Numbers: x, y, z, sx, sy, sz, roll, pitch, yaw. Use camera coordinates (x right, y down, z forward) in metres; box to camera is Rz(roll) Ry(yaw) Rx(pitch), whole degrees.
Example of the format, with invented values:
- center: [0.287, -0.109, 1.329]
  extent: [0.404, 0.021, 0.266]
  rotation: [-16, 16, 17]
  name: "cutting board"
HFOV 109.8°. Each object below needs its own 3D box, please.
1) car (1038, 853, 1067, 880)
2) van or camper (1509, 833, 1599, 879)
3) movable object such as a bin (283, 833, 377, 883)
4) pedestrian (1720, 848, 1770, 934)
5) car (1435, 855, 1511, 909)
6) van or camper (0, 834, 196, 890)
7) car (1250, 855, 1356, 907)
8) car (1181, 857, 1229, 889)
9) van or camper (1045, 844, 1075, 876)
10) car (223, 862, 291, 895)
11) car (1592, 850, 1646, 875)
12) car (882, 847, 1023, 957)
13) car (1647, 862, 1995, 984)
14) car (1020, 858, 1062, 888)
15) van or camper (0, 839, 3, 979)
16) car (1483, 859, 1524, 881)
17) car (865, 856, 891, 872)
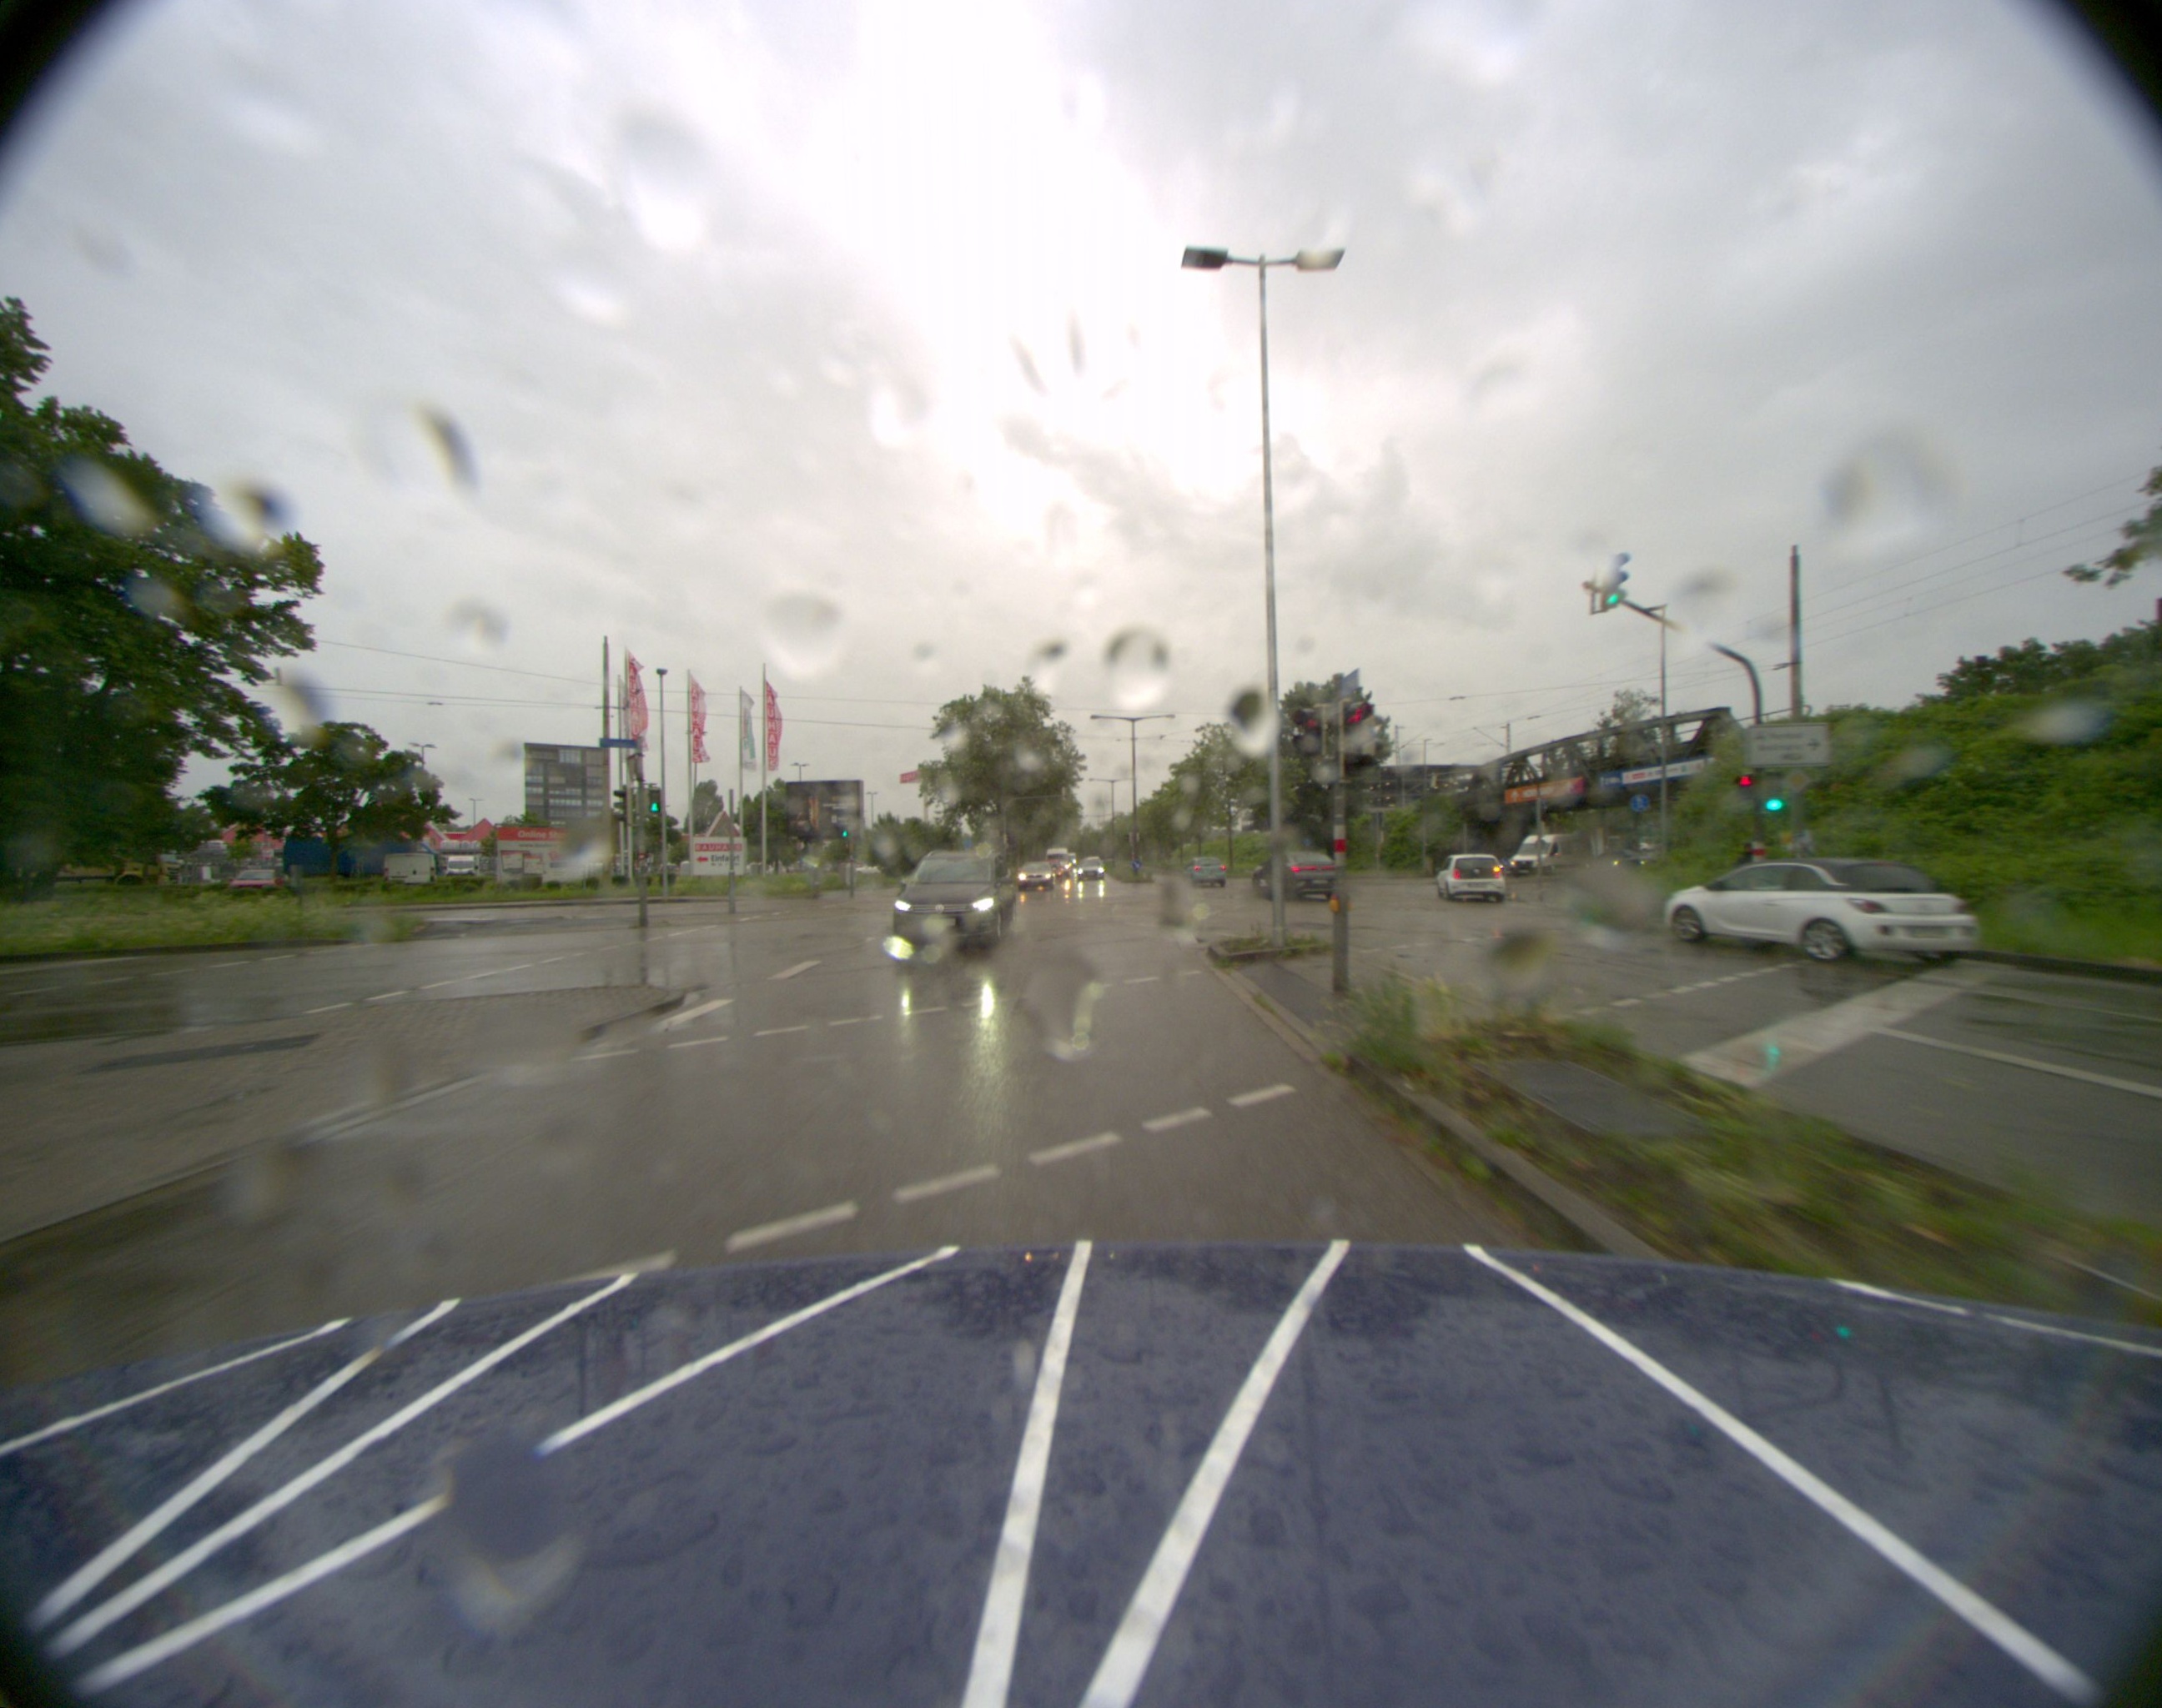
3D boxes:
- center: [-1.936, 0.867, 53.245]
  extent: [1.699, 1.759, 4.558]
  rotation: [-1, 0, 2]
  name: "car"
- center: [28.845, 0.071, 46.230]
  extent: [6.941, 2.647, 1.995]
  rotation: [-1, 1, -34]
  name: "van or camper"
- center: [-52.470, 0.243, 53.209]
  extent: [4.260, 3.266, 2.321]
  rotation: [-3, 2, -36]
  name: "movable object such as a bin"
- center: [14.099, 0.773, 16.135]
  extent: [0.485, 1.777, 0.626]
  rotation: [-1, 1, -7]
  name: "pedestrian"
- center: [12.689, 0.843, 24.770]
  extent: [1.650, 1.592, 3.571]
  rotation: [0, 0, 18]
  name: "car"
- center: [-62.406, 0.461, 47.252]
  extent: [8.994, 3.139, 2.979]
  rotation: [-3, 2, -34]
  name: "van or camper"
- center: [7.352, 0.850, 25.697]
  extent: [1.977, 1.592, 4.386]
  rotation: [0, 0, -5]
  name: "car"
- center: [6.404, 0.945, 39.684]
  extent: [1.697, 1.592, 3.622]
  rotation: [0, 0, -4]
  name: "car"
- center: [-1.732, 0.508, 64.574]
  extent: [2.100, 2.579, 4.776]
  rotation: [-2, 0, 2]
  name: "van or camper"
- center: [-42.154, 1.234, 38.852]
  extent: [3.988, 1.565, 2.004]
  rotation: [0, 0, 38]
  name: "car"
- center: [35.486, 0.539, 50.085]
  extent: [3.812, 1.545, 1.690]
  rotation: [-1, 1, -34]
  name: "car"
- center: [-2.238, 0.776, 14.385]
  extent: [1.861, 1.716, 4.190]
  rotation: [-2, 0, 0]
  name: "car"
- center: [11.032, 0.912, 11.767]
  extent: [1.676, 1.535, 3.787]
  rotation: [1, 0, 0]
  name: "car"
- center: [-1.989, 0.944, 39.096]
  extent: [1.807, 1.422, 4.387]
  rotation: [-1, 0, 2]
  name: "car"
- center: [-17.418, 0.822, 9.046]
  extent: [4.918, 2.076, 1.863]
  rotation: [0, 0, -37]
  name: "van or camper"
- center: [28.284, 1.030, 50.818]
  extent: [1.689, 1.339, 3.476]
  rotation: [0, 1, 42]
  name: "car"
- center: [-21.602, 1.030, 81.023]
  extent: [1.822, 1.610, 3.999]
  rotation: [0, 0, -1]
  name: "car"
